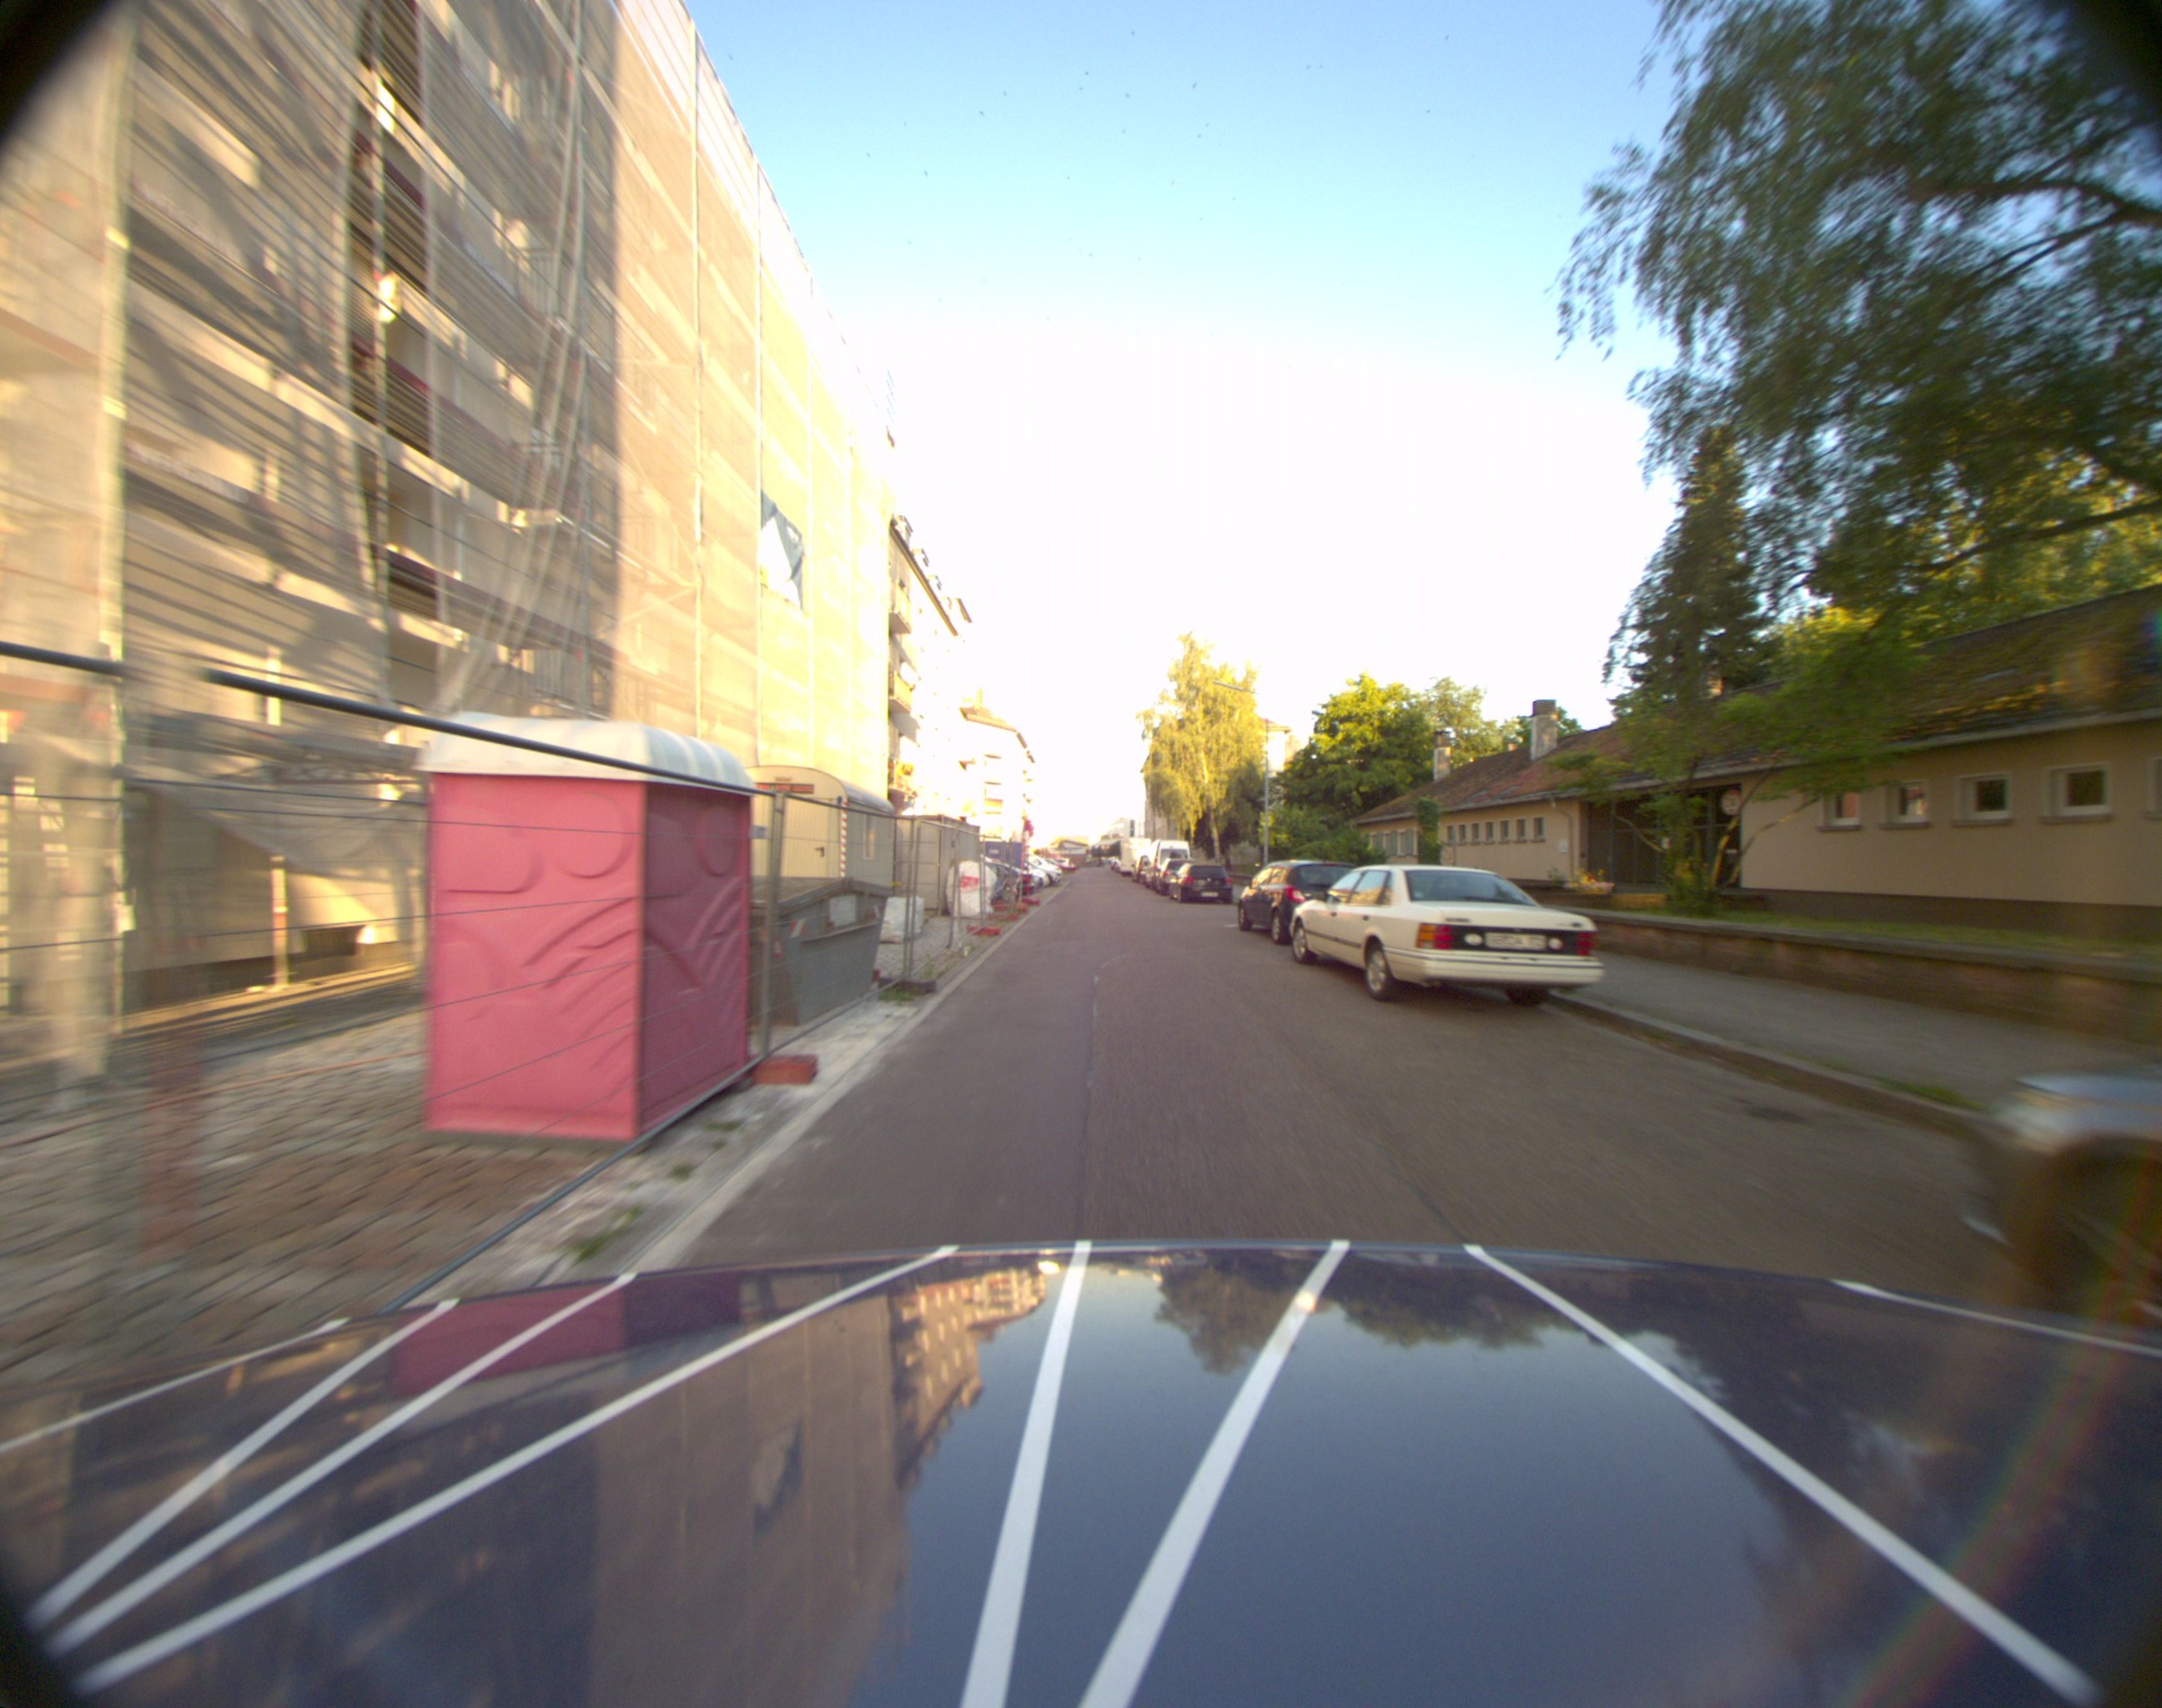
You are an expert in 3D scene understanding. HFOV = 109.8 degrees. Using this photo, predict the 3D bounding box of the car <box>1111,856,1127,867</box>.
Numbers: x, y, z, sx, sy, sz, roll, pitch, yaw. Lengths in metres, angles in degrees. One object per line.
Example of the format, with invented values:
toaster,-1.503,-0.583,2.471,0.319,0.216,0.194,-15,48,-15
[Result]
car,5.493,1.085,110.653,1.999,1.481,4.431,0,0,-1

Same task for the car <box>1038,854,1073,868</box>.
car,-2.958,0.800,87.314,3.997,1.619,1.784,0,0,-2

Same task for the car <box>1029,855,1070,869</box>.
car,-3.354,0.830,82.267,4.310,1.532,1.924,0,0,2

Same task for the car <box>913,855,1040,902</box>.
car,-3.595,0.838,26.730,4.163,1.606,1.872,0,0,2

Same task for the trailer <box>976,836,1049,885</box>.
trailer,-3.504,0.332,39.310,3.577,2.323,1.940,2,0,-2

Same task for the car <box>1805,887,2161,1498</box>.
car,3.719,0.913,0.537,1.864,1.529,4.758,1,0,0

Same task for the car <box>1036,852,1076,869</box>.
car,-2.938,0.801,90.223,4.685,1.988,2.000,0,0,2

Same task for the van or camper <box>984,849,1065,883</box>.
van or camper,-3.411,0.732,46.720,4.846,2.084,2.040,0,0,0

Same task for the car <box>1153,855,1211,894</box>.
car,4.283,0.830,32.878,1.998,1.510,4.789,0,0,1

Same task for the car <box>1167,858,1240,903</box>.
car,4.257,0.866,27.043,1.998,1.444,4.288,0,0,1

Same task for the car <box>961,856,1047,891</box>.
car,-3.672,0.937,36.728,3.998,1.628,1.903,0,0,-2

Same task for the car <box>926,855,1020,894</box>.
car,-4.475,0.841,31.885,3.702,1.601,1.745,0,0,-1

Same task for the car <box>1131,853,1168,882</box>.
car,4.415,0.837,49.412,1.915,1.777,4.949,1,0,0

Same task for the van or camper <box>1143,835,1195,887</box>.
van or camper,4.393,0.334,38.844,1.998,2.442,6.083,0,0,1

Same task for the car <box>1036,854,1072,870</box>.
car,-3.000,0.886,84.875,3.997,1.652,2.000,0,0,-1

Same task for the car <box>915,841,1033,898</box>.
car,-4.068,0.610,29.439,4.278,1.968,1.821,2,-1,-3

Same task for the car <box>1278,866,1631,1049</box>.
car,3.846,0.931,8.945,1.787,1.437,4.748,2,0,0

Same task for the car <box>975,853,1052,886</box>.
car,-3.630,0.824,41.353,3.997,1.718,1.999,0,1,-1

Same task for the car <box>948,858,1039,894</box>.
car,-3.915,0.971,34.428,3.975,1.562,1.788,0,0,-2

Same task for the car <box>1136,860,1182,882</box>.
car,4.475,0.934,44.179,1.999,1.182,4.035,0,0,-4

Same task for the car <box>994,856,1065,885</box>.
car,-2.929,0.935,43.983,3.997,1.630,2.000,0,1,-1

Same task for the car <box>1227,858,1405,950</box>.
car,4.207,0.819,14.324,1.999,1.444,3.999,0,0,-2

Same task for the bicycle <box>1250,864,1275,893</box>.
bicycle,7.540,0.994,31.585,0.544,1.111,1.955,-1,0,0

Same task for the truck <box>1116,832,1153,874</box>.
truck,4.569,-0.055,66.741,2.532,3.334,8.017,3,0,0

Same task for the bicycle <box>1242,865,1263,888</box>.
bicycle,7.624,0.989,33.843,0.544,0.959,1.955,-1,0,3
